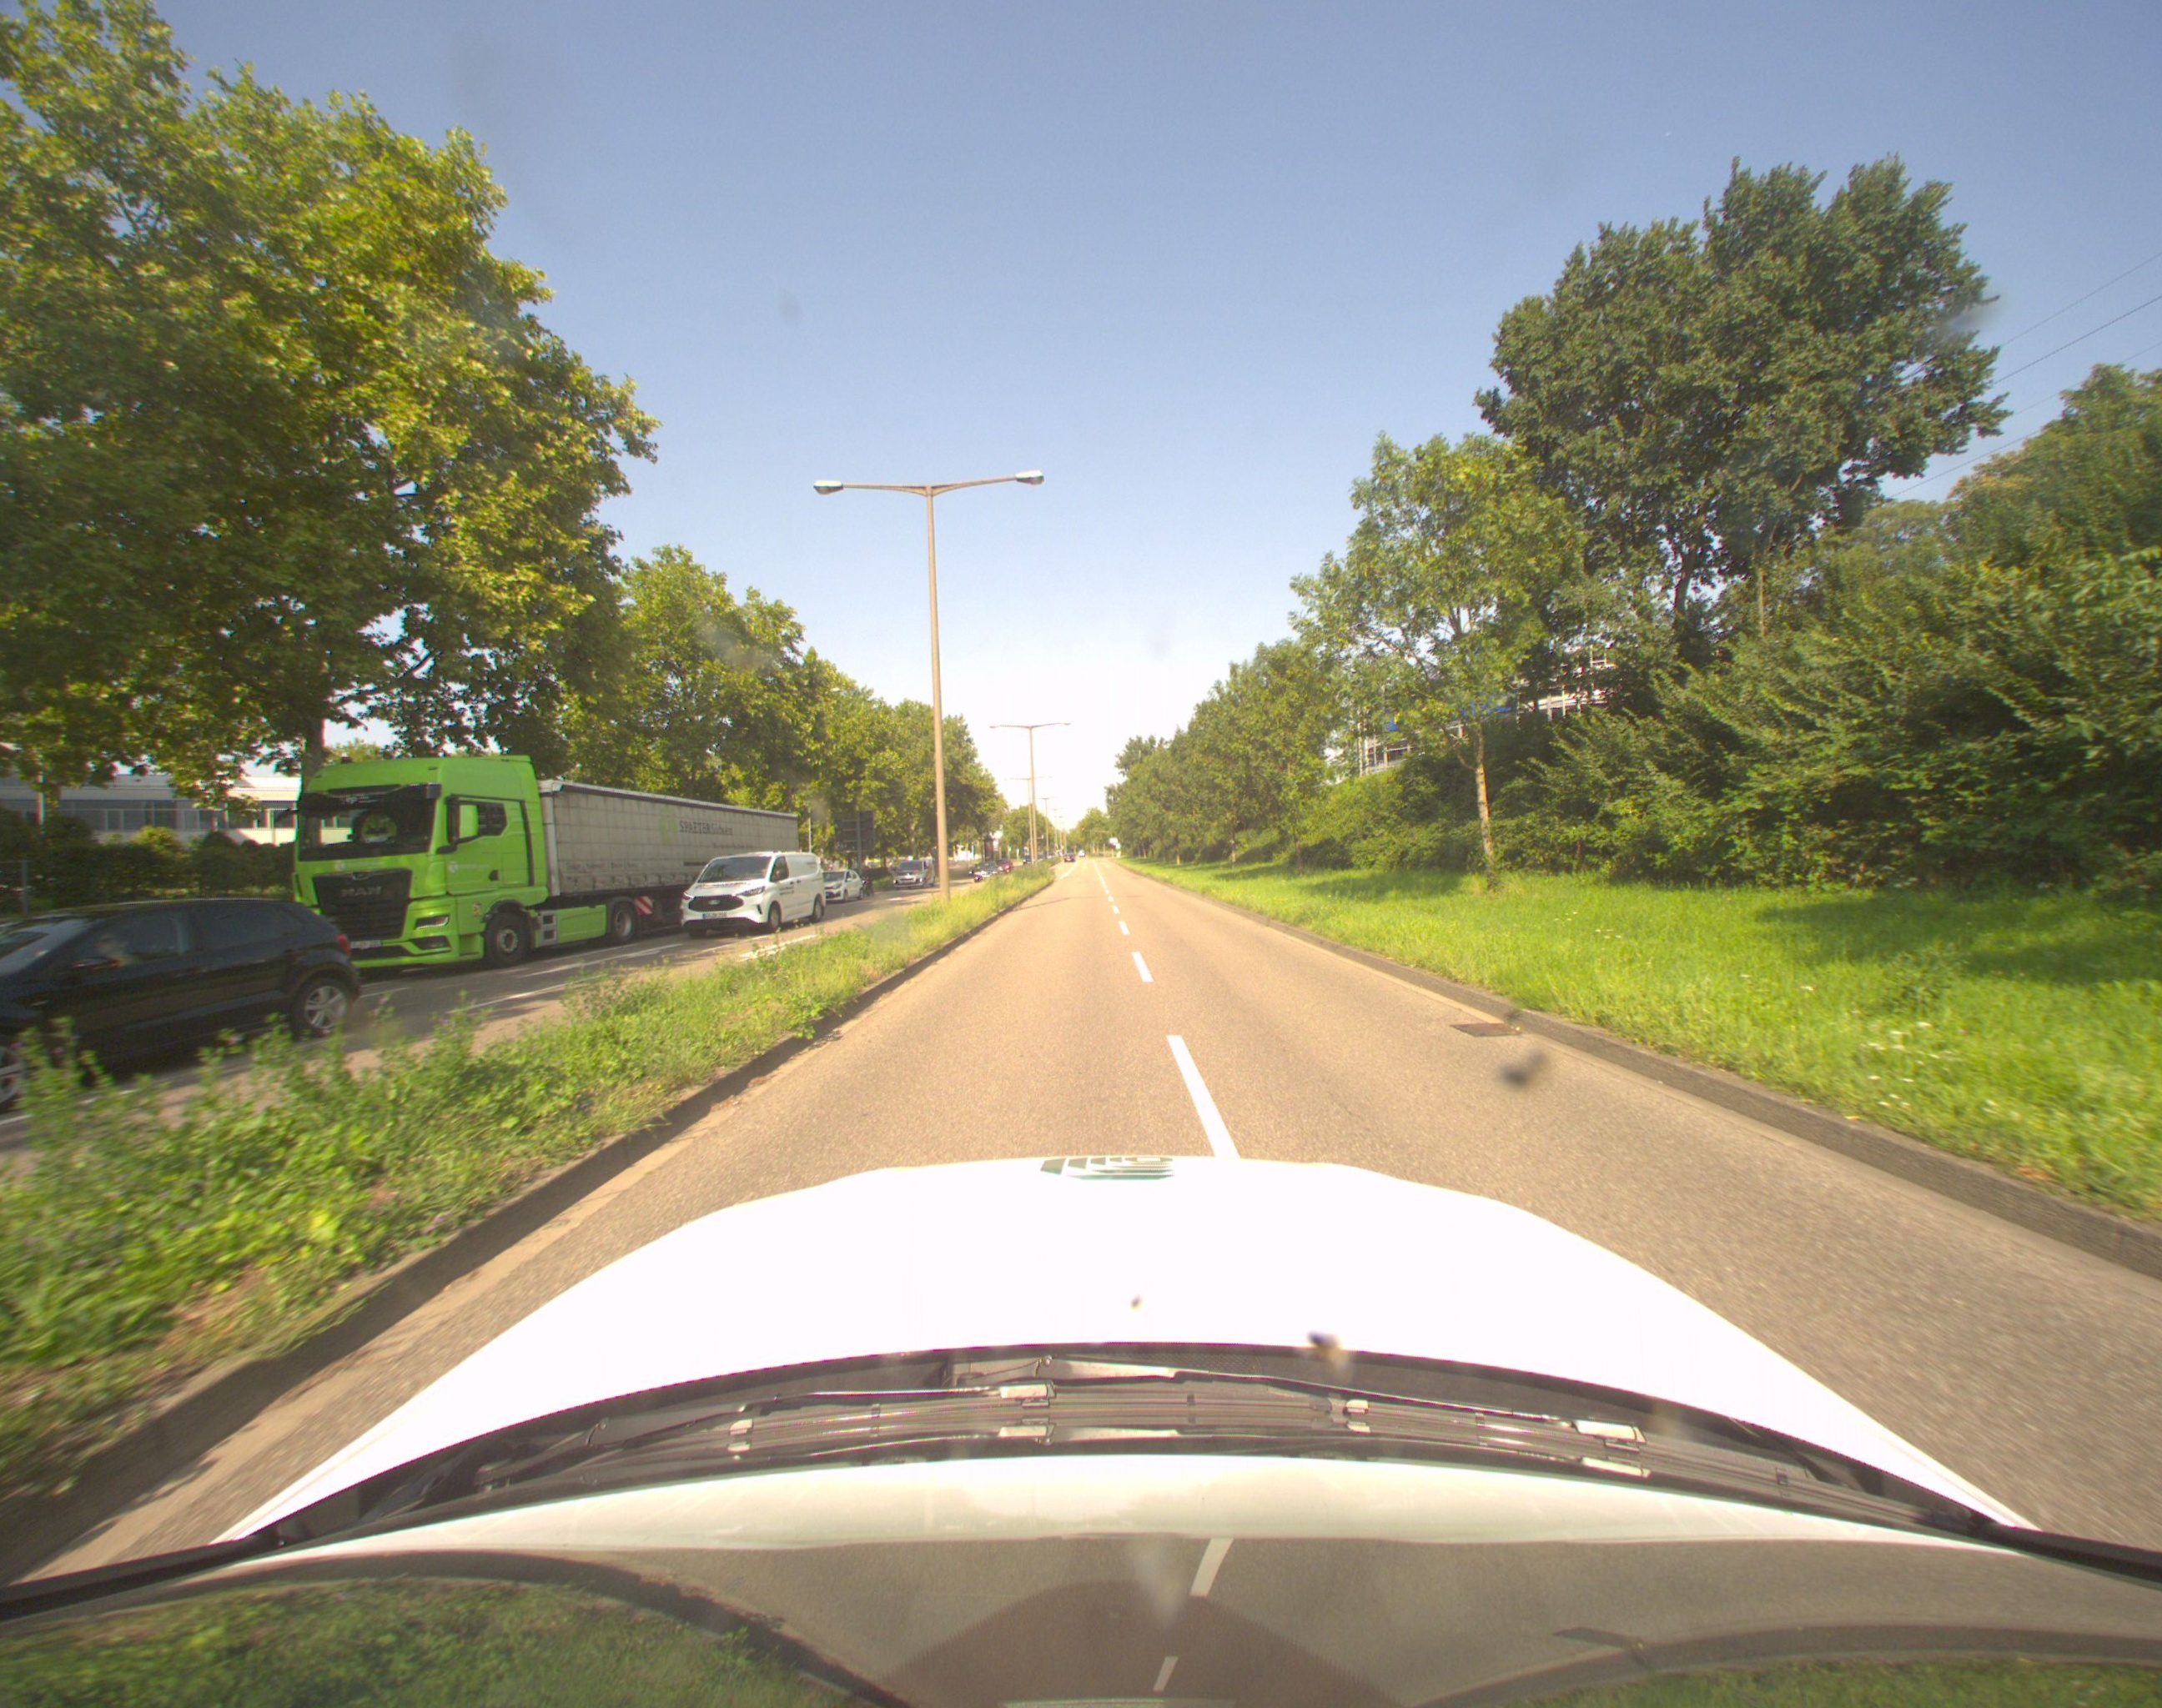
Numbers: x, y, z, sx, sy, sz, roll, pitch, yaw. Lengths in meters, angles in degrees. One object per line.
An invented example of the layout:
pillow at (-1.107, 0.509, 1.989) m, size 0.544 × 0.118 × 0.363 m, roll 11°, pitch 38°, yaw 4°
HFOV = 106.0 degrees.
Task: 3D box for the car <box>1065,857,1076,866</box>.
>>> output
car at (-1.805, 1.268, 142.715) m, size 1.685 × 1.486 × 4.004 m, roll -2°, pitch 0°, yaw 4°

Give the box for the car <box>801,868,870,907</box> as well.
car at (-10.923, 1.457, 36.529) m, size 1.740 × 1.479 × 3.832 m, roll -4°, pitch 0°, yaw 1°

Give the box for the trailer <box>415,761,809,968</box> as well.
trailer at (-11.399, 0.241, 22.693) m, size 2.624 × 3.821 × 13.811 m, roll -4°, pitch 0°, yaw 1°

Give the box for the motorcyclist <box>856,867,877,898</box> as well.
motorcyclist at (-11.111, 1.457, 42.236) m, size 0.775 × 1.554 × 0.923 m, roll -2°, pitch -1°, yaw 1°

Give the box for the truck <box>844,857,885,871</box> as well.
truck at (-53.055, 2.426, 199.828) m, size 9.054 × 2.957 × 3.476 m, roll -3°, pitch 0°, yaw -36°

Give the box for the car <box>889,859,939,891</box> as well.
car at (-10.778, 1.315, 52.938) m, size 1.978 × 1.858 × 4.969 m, roll -4°, pitch 0°, yaw 1°

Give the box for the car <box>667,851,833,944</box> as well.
car at (-8.073, 0.973, 20.491) m, size 1.987 × 1.953 × 5.035 m, roll -3°, pitch 0°, yaw 0°

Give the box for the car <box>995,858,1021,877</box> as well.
car at (-6.987, 1.270, 78.673) m, size 1.947 × 1.724 × 4.587 m, roll -3°, pitch 0°, yaw 1°

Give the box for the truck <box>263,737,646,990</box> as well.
truck at (-11.473, 0.167, 15.805) m, size 2.599 × 3.819 × 5.891 m, roll -4°, pitch 0°, yaw 0°

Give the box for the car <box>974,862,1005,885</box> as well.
car at (-6.654, 1.372, 59.697) m, size 1.741 × 1.479 × 4.584 m, roll -4°, pitch 0°, yaw -1°

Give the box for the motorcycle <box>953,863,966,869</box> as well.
motorcycle at (-22.154, 2.200, 148.565) m, size 2.085 × 1.136 × 0.670 m, roll -2°, pitch -1°, yaw -35°

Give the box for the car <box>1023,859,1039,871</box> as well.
car at (-7.698, 1.656, 124.928) m, size 1.987 × 1.759 × 4.477 m, roll -4°, pitch 0°, yaw 1°

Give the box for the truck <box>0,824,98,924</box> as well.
truck at (-32.956, 0.639, 23.198) m, size 5.933 × 2.861 × 2.214 m, roll -2°, pitch -1°, yaw -38°

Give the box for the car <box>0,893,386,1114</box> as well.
car at (-8.272, 1.160, 6.707) m, size 1.608 × 1.398 × 3.859 m, roll -4°, pitch -1°, yaw 2°

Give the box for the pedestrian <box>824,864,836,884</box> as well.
pedestrian at (-20.681, 1.657, 67.149) m, size 0.615 × 1.653 × 0.934 m, roll -2°, pitch -1°, yaw 0°

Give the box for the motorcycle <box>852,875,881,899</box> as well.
motorcycle at (-11.101, 1.687, 42.251) m, size 0.792 × 1.107 × 2.468 m, roll -2°, pitch 0°, yaw 1°

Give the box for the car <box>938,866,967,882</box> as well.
car at (-11.889, 1.857, 75.765) m, size 1.784 × 1.263 × 4.097 m, roll -4°, pitch 0°, yaw 2°

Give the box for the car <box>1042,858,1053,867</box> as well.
car at (-6.332, 1.559, 154.137) m, size 1.873 × 1.594 × 4.107 m, roll -1°, pitch -1°, yaw 0°

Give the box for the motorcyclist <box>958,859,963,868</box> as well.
motorcyclist at (-22.043, 1.769, 148.674) m, size 0.687 × 1.572 × 0.676 m, roll -1°, pitch -1°, yaw -36°
